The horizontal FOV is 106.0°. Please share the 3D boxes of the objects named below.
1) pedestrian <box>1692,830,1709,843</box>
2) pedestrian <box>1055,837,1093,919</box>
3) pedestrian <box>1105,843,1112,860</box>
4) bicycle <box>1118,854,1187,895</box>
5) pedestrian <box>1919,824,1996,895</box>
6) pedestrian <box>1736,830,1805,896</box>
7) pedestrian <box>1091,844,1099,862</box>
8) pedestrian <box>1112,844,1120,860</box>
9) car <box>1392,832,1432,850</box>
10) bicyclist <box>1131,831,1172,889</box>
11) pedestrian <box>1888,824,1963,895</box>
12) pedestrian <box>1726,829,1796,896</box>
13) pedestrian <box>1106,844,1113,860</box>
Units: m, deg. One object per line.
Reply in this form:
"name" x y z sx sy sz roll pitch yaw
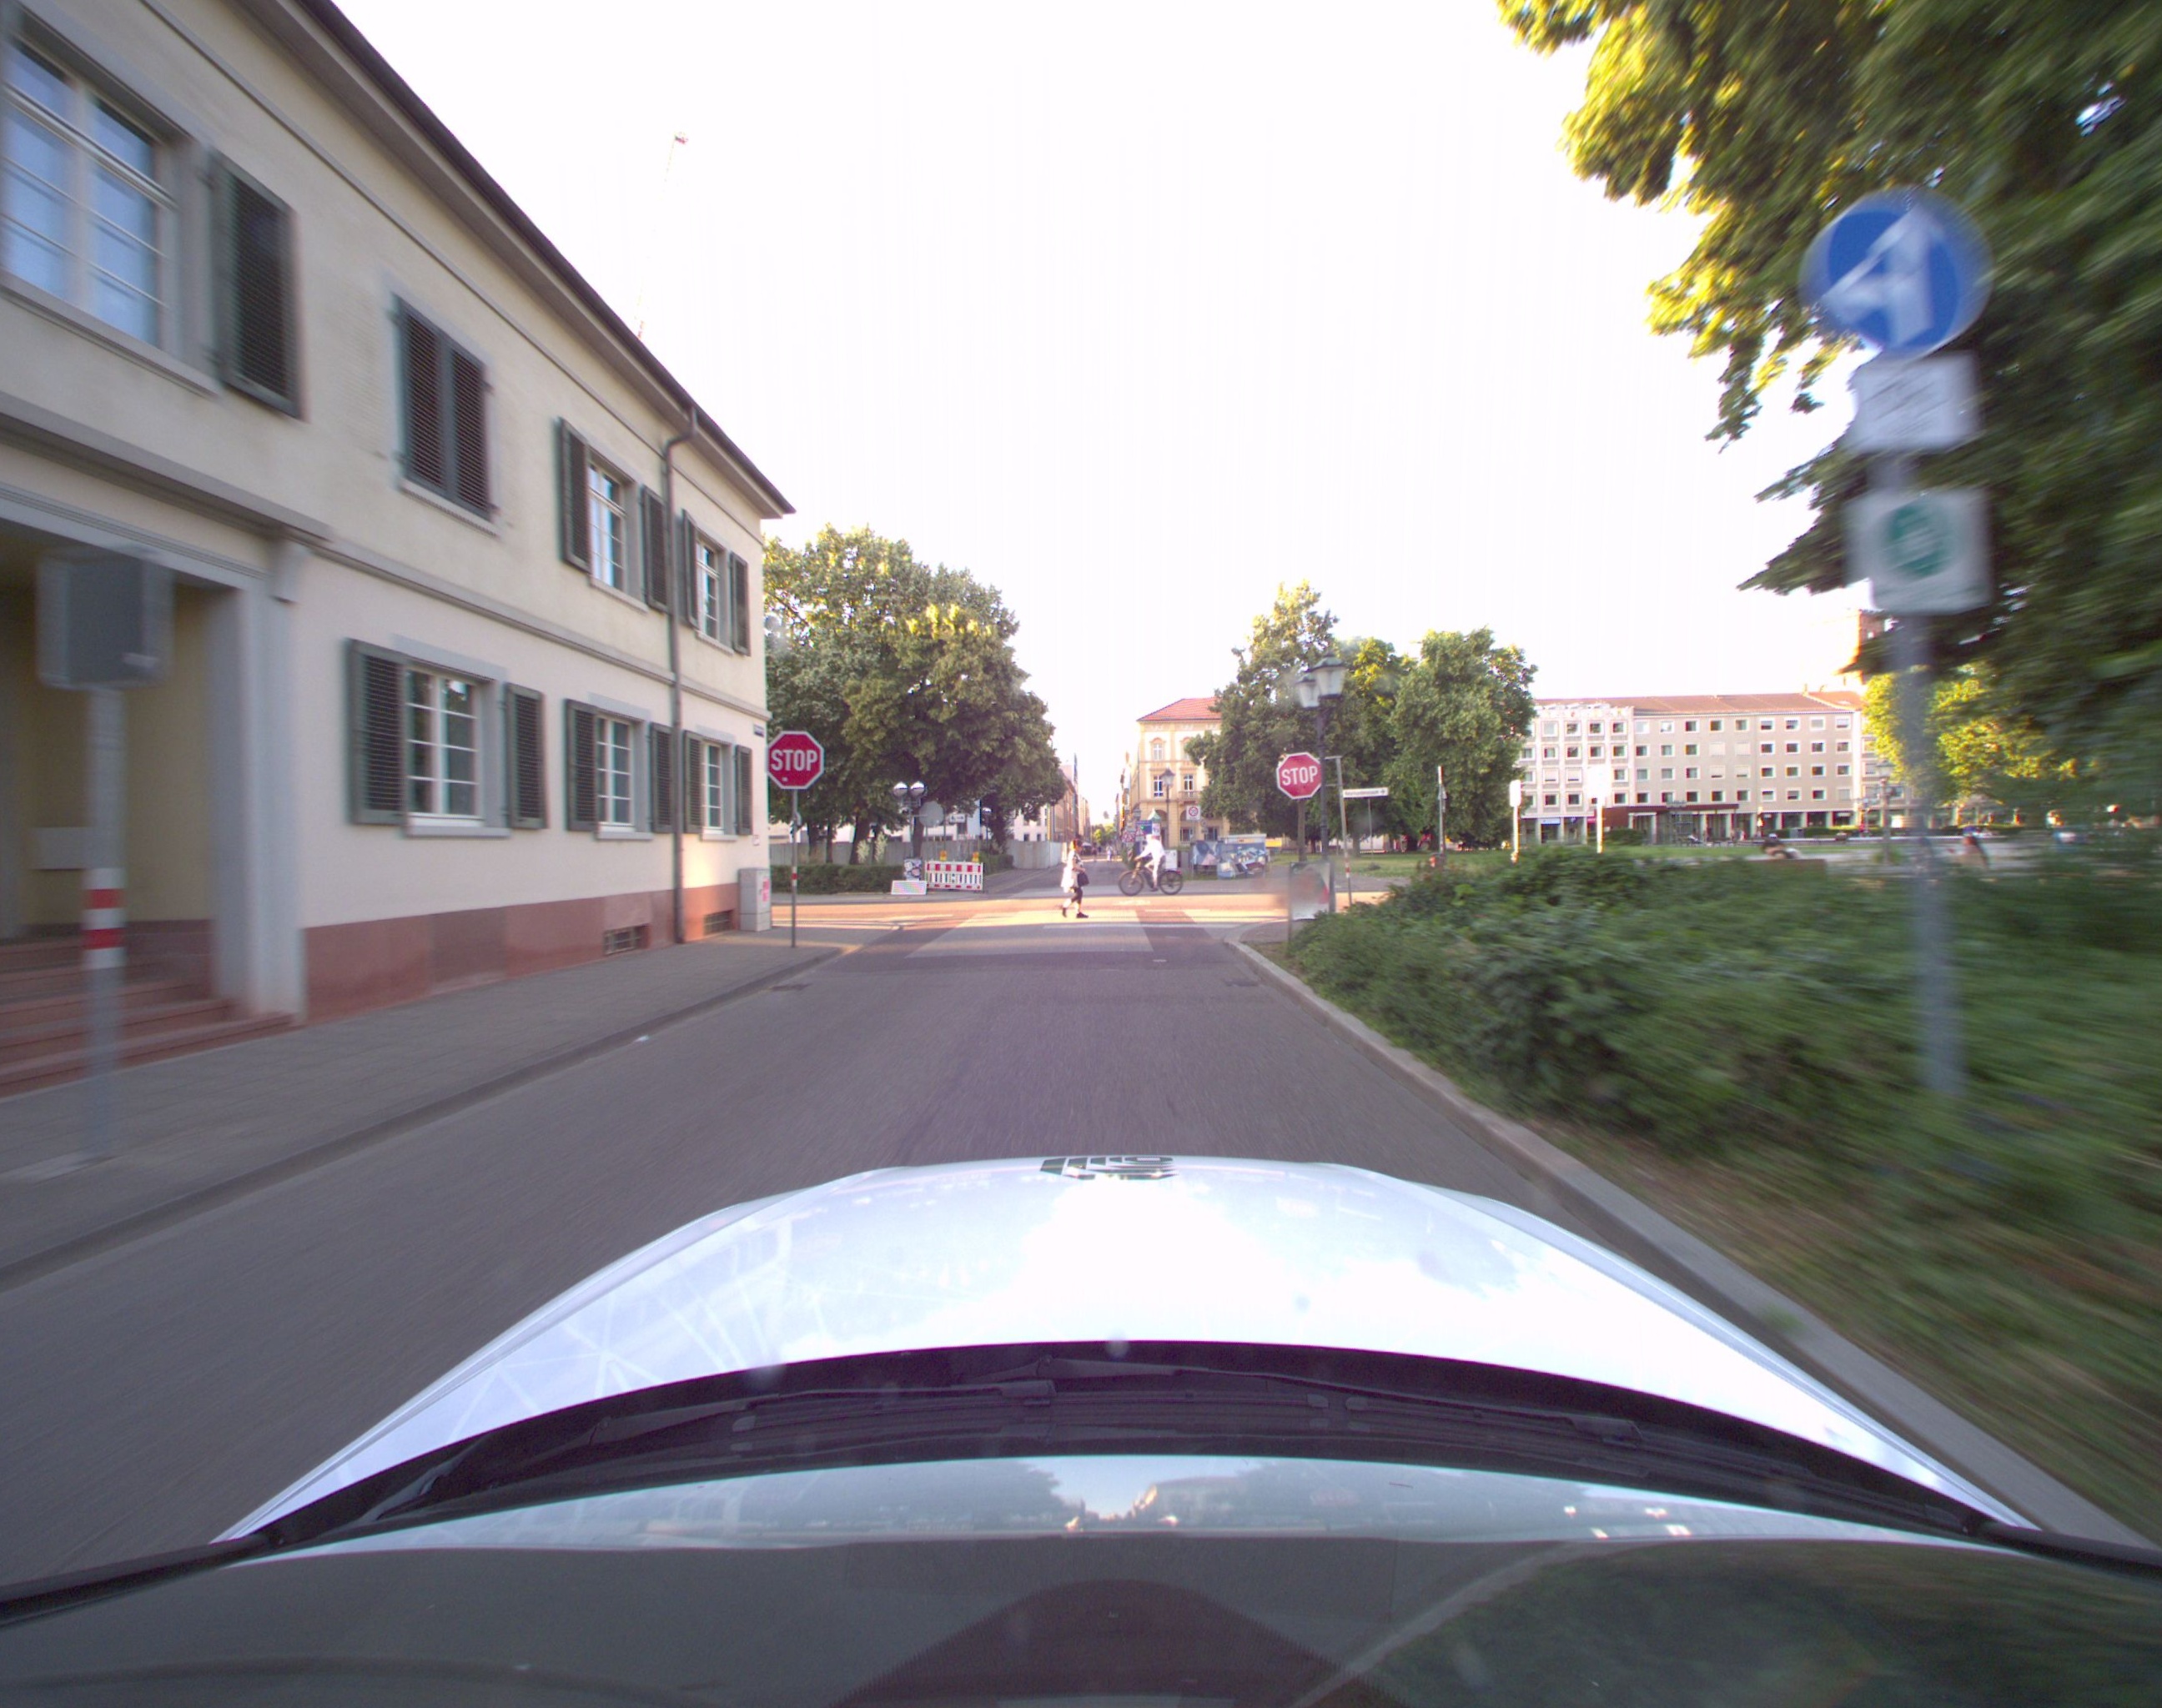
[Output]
"pedestrian" 50.985 -1.422 67.019 0.889 1.077 0.624 -2 0 19
"pedestrian" -0.136 0.495 17.385 0.731 1.689 0.836 -2 0 1
"pedestrian" 2.788 -0.247 81.778 0.655 1.617 0.745 -2 0 2
"bicycle" 2.076 0.595 23.751 1.924 1.121 0.595 -2 0 -5
"pedestrian" 17.192 0.102 15.993 0.595 1.342 0.817 -2 0 -4
"pedestrian" 13.589 0.172 16.059 0.600 1.261 0.865 -2 0 -29
"pedestrian" 1.434 -0.084 83.050 0.655 1.759 0.746 -2 0 2
"pedestrian" 3.515 -0.214 81.845 0.655 1.617 0.745 -2 0 2
"car" 40.750 -1.602 100.318 4.015 2.013 2.002 -2 0 2
"bicyclist" 2.047 0.166 23.765 1.059 1.633 0.595 -2 0 -5
"pedestrian" 16.536 0.102 15.964 0.595 1.342 0.817 -2 0 -4
"pedestrian" 13.064 0.164 15.653 0.685 1.237 0.811 -2 0 -28
"pedestrian" 2.948 -0.220 83.453 0.655 1.635 0.745 -2 0 2
